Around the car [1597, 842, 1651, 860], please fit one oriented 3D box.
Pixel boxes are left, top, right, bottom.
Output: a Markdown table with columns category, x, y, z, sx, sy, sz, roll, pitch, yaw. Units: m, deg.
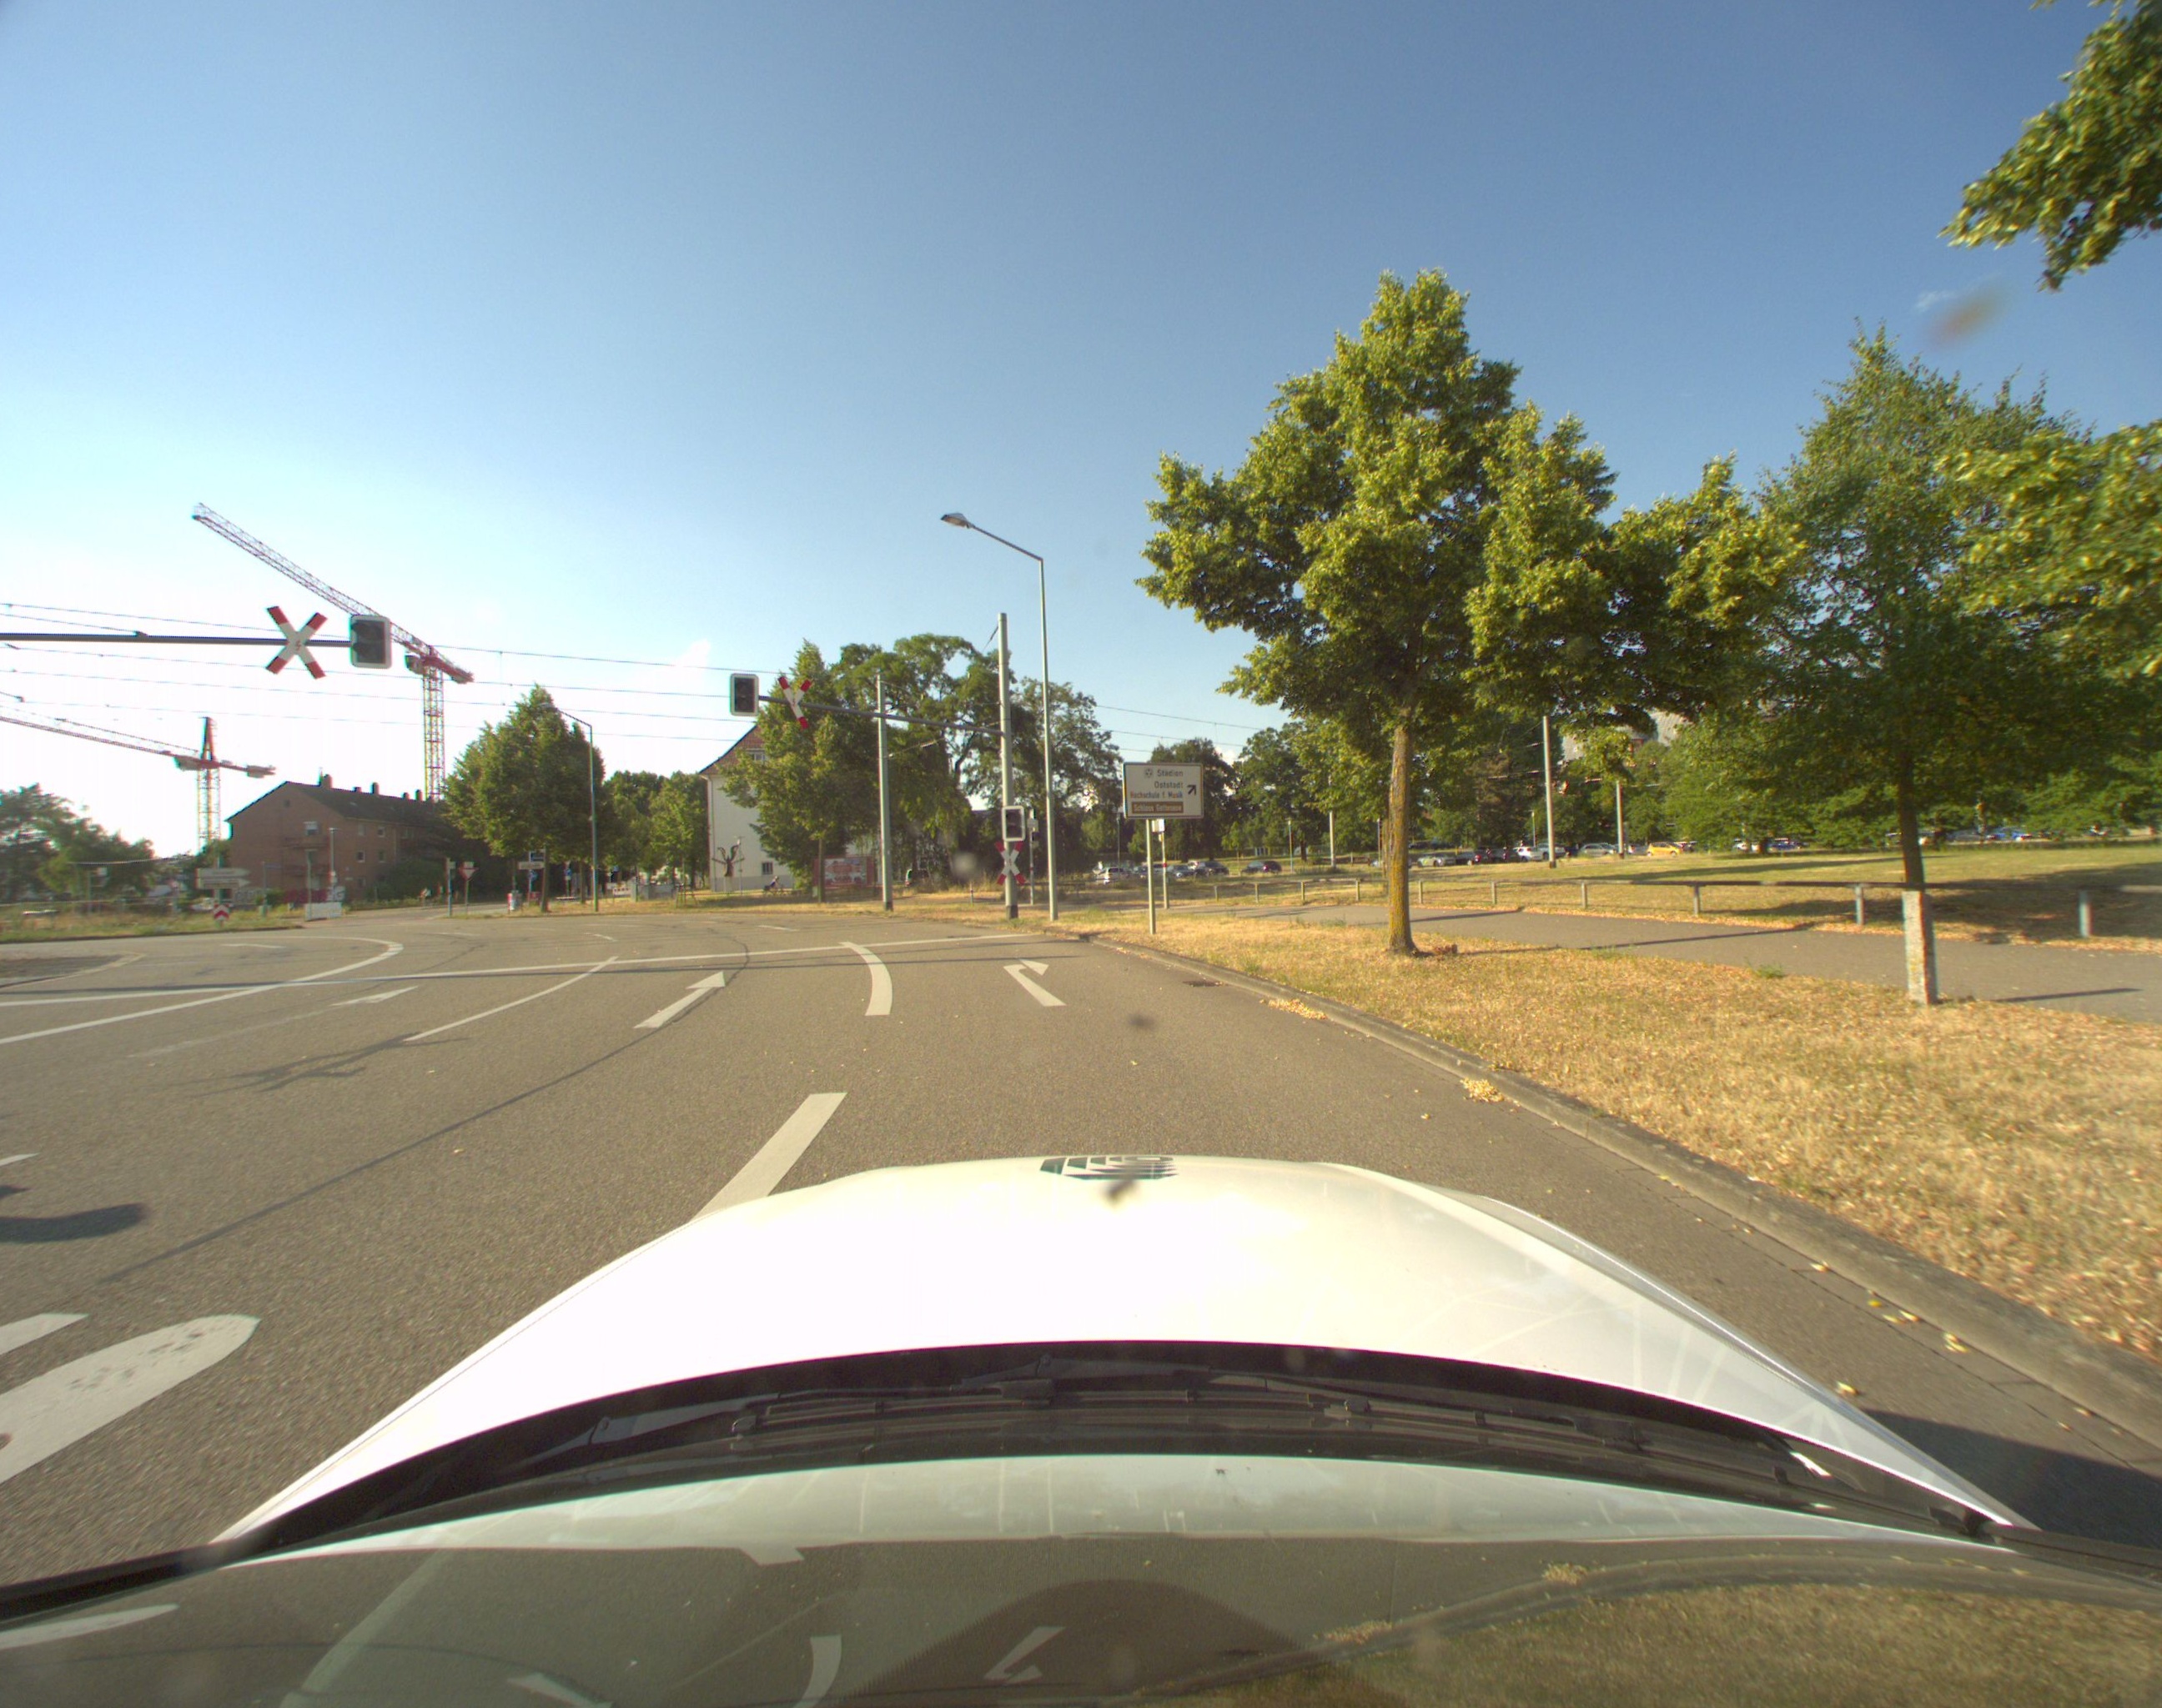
| category | x | y | z | sx | sy | sz | roll | pitch | yaw |
| --- | --- | --- | --- | --- | --- | --- | --- | --- | --- |
| car | 49.656 | -0.252 | 74.558 | 1.823 | 1.403 | 3.982 | -2 | -1 | -13 |

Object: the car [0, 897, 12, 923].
| category | x | y | z | sx | sy | sz | roll | pitch | yaw |
| --- | --- | --- | --- | --- | --- | --- | --- | --- | --- |
| car | -88.547 | 4.573 | 64.862 | 3.820 | 2.014 | 1.661 | -2 | -2 | -19 |

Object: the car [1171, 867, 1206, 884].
| category | x | y | z | sx | sy | sz | roll | pitch | yaw |
| --- | --- | --- | --- | --- | --- | --- | --- | --- | --- |
| car | 8.284 | 1.695 | 62.939 | 1.600 | 1.221 | 3.957 | -2 | -1 | -8 |

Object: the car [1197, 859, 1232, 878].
| category | x | y | z | sx | sy | sz | roll | pitch | yaw |
| --- | --- | --- | --- | --- | --- | --- | --- | --- | --- |
| car | 10.580 | 1.196 | 64.899 | 1.600 | 1.402 | 3.957 | -2 | -1 | -8 |

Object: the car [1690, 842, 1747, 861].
| category | x | y | z | sx | sy | sz | roll | pitch | yaw |
| --- | --- | --- | --- | --- | --- | --- | --- | --- | --- |
| car | 60.028 | -0.207 | 76.772 | 1.823 | 1.569 | 3.982 | -2 | -1 | -13 |

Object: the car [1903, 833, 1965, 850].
| category | x | y | z | sx | sy | sz | roll | pitch | yaw |
| --- | --- | --- | --- | --- | --- | --- | --- | --- | --- |
| car | 86.960 | -1.255 | 83.101 | 1.823 | 1.403 | 3.982 | -2 | -1 | -13 |

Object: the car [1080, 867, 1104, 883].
| category | x | y | z | sx | sy | sz | roll | pitch | yaw |
| --- | --- | --- | --- | --- | --- | --- | --- | --- | --- |
| car | 0.954 | 1.949 | 75.235 | 1.600 | 1.402 | 3.957 | -2 | -1 | -8 |

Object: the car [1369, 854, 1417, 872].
| category | x | y | z | sx | sy | sz | roll | pitch | yaw |
| --- | --- | --- | --- | --- | --- | --- | --- | --- | --- |
| car | 26.398 | 0.810 | 69.012 | 1.823 | 1.403 | 3.982 | -2 | -1 | -13 |

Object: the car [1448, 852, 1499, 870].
| category | x | y | z | sx | sy | sz | roll | pitch | yaw |
| --- | --- | --- | --- | --- | --- | --- | --- | --- | --- |
| car | 33.912 | 0.666 | 70.512 | 1.823 | 1.403 | 3.982 | -2 | -1 | -13 |

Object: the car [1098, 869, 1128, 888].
| category | x | y | z | sx | sy | sz | roll | pitch | yaw |
| --- | --- | --- | --- | --- | --- | --- | --- | --- | --- |
| car | 2.450 | 1.910 | 63.517 | 1.600 | 1.402 | 3.957 | -2 | -1 | -8 |

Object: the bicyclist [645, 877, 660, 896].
| category | x | y | z | sx | sy | sz | roll | pitch | yaw |
| --- | --- | --- | --- | --- | --- | --- | --- | --- | --- |
| bicyclist | -31.835 | 2.418 | 60.505 | 0.905 | 1.396 | 0.519 | -1 | -1 | -42 |

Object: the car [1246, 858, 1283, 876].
| category | x | y | z | sx | sy | sz | roll | pitch | yaw |
| --- | --- | --- | --- | --- | --- | --- | --- | --- | --- |
| car | 14.773 | 1.076 | 65.781 | 1.600 | 1.310 | 3.957 | -2 | -1 | -8 |

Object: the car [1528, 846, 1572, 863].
| category | x | y | z | sx | sy | sz | roll | pitch | yaw |
| --- | --- | --- | --- | --- | --- | --- | --- | --- | --- |
| car | 49.397 | 0.066 | 85.876 | 1.823 | 1.672 | 3.982 | -2 | -1 | -13 |

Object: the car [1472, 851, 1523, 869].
| category | x | y | z | sx | sy | sz | roll | pitch | yaw |
| --- | --- | --- | --- | --- | --- | --- | --- | --- | --- |
| car | 36.146 | 0.499 | 70.828 | 1.823 | 1.403 | 3.982 | -2 | -1 | -13 |

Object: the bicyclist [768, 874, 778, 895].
| category | x | y | z | sx | sy | sz | roll | pitch | yaw |
| --- | --- | --- | --- | --- | --- | --- | --- | --- | --- |
| bicyclist | -23.605 | 2.340 | 62.419 | 0.627 | 1.511 | 0.414 | -1 | -1 | -36 |

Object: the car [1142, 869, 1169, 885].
| category | x | y | z | sx | sy | sz | roll | pitch | yaw |
| --- | --- | --- | --- | --- | --- | --- | --- | --- | --- |
| car | 6.990 | 2.195 | 76.297 | 1.600 | 1.402 | 3.957 | -2 | -1 | -8 |

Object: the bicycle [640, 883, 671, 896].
| category | x | y | z | sx | sy | sz | roll | pitch | yaw |
| --- | --- | --- | --- | --- | --- | --- | --- | --- | --- |
| bicycle | -31.654 | 2.628 | 60.586 | 2.005 | 0.825 | 0.425 | -1 | -1 | -43 |

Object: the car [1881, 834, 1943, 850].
| category | x | y | z | sx | sy | sz | roll | pitch | yaw |
| --- | --- | --- | --- | --- | --- | --- | --- | --- | --- |
| car | 83.760 | -1.220 | 82.129 | 1.823 | 1.403 | 3.982 | -2 | -1 | -13 |

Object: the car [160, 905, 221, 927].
| category | x | y | z | sx | sy | sz | roll | pitch | yaw |
| --- | --- | --- | --- | --- | --- | --- | --- | --- | --- |
| car | -90.477 | 6.266 | 82.749 | 3.820 | 2.014 | 1.661 | -2 | -2 | -19 |

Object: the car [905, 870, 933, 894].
| category | x | y | z | sx | sy | sz | roll | pitch | yaw |
| --- | --- | --- | --- | --- | --- | --- | --- | --- | --- |
| car | -11.849 | 2.041 | 59.680 | 1.770 | 1.618 | 3.957 | -2 | -1 | -8 |

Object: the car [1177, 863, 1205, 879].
| category | x | y | z | sx | sy | sz | roll | pitch | yaw |
| --- | --- | --- | --- | --- | --- | --- | --- | --- | --- |
| car | 10.565 | 1.662 | 78.454 | 1.600 | 1.402 | 3.957 | -2 | -1 | -8 |

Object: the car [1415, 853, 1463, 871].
| category | x | y | z | sx | sy | sz | roll | pitch | yaw |
| --- | --- | --- | --- | --- | --- | --- | --- | --- | --- |
| car | 30.993 | 0.722 | 70.626 | 1.823 | 1.403 | 3.982 | -2 | -1 | -13 |

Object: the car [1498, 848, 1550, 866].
| category | x | y | z | sx | sy | sz | roll | pitch | yaw |
| --- | --- | --- | --- | --- | --- | --- | --- | --- | --- |
| car | 39.140 | 0.275 | 72.012 | 1.823 | 1.403 | 3.982 | -2 | -1 | -13 |

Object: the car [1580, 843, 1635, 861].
| category | x | y | z | sx | sy | sz | roll | pitch | yaw |
| --- | --- | --- | --- | --- | --- | --- | --- | --- | --- |
| car | 47.412 | -0.146 | 73.450 | 1.823 | 1.403 | 3.982 | -2 | -1 | -13 |

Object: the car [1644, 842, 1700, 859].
| category | x | y | z | sx | sy | sz | roll | pitch | yaw |
| --- | --- | --- | --- | --- | --- | --- | --- | --- | --- |
| car | 54.965 | -0.308 | 75.824 | 1.823 | 1.403 | 3.982 | -2 | -1 | -13 |

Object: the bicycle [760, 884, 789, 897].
| category | x | y | z | sx | sy | sz | roll | pitch | yaw |
| --- | --- | --- | --- | --- | --- | --- | --- | --- | --- |
| bicycle | -23.509 | 2.776 | 62.476 | 2.003 | 0.918 | 0.425 | -2 | -1 | -37 |

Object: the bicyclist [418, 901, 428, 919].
| category | x | y | z | sx | sy | sz | roll | pitch | yaw |
| --- | --- | --- | --- | --- | --- | --- | --- | --- | --- |
| bicyclist | -60.945 | 5.173 | 75.441 | 0.663 | 1.562 | 0.884 | -1 | -2 | -39 |
